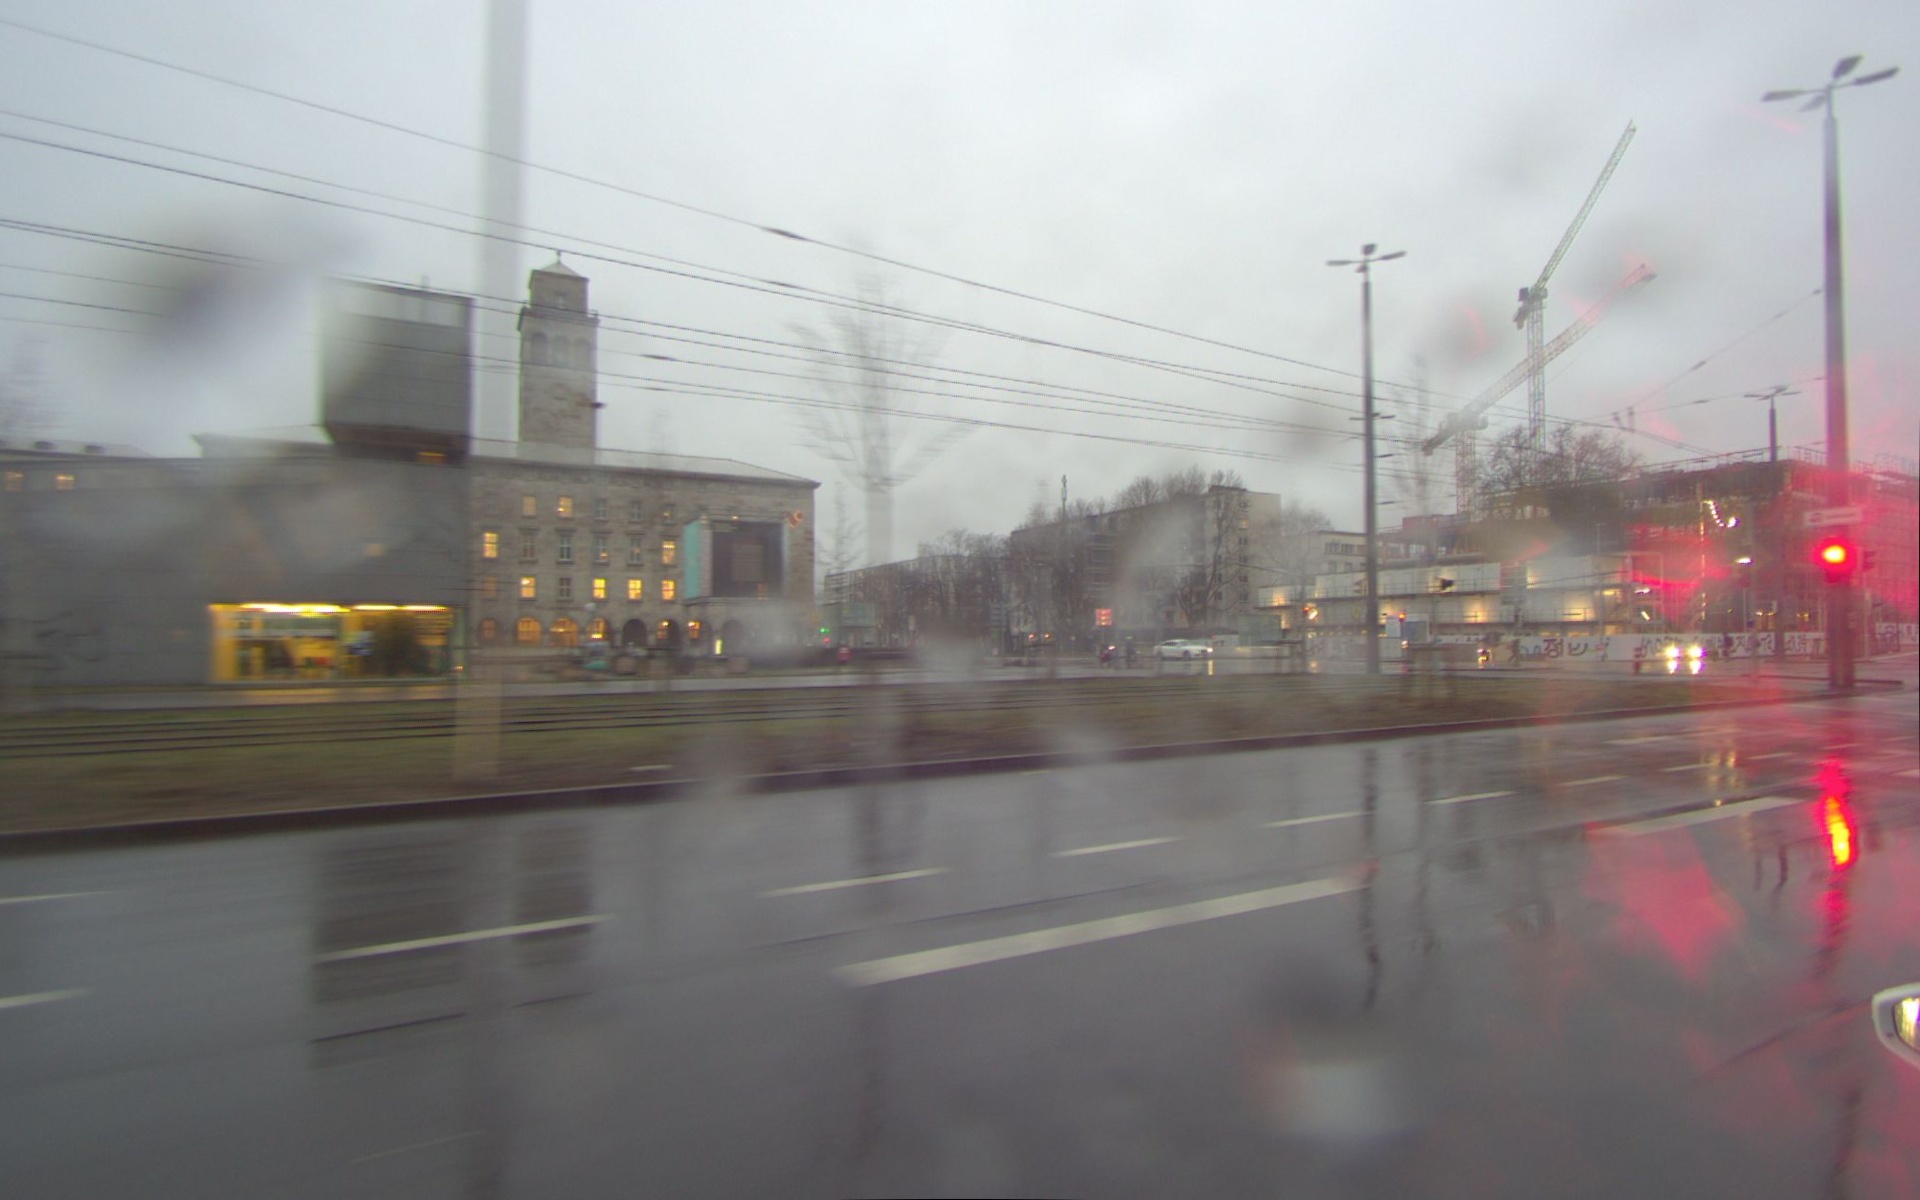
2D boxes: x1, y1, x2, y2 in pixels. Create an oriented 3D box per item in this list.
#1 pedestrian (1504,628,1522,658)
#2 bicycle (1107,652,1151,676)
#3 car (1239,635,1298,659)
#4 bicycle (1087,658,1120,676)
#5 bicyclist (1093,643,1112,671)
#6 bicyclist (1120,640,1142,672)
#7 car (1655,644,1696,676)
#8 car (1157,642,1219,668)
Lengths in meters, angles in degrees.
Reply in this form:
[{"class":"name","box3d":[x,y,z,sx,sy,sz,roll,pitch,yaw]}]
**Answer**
[{"class":"pedestrian","box3d":[37.491,2.926,68.134,0.741,2.040,0.786,0,-2,-37]},{"class":"bicycle","box3d":[9.868,3.735,58.796,0.714,1.380,2.811,2,-4,-37]},{"class":"car","box3d":[23.373,3.597,76.279,1.979,1.773,3.963,1,-3,-34]},{"class":"bicycle","box3d":[8.863,4.146,62.275,0.611,1.046,2.358,1,-3,-34]},{"class":"bicyclist","box3d":[8.831,3.517,62.367,0.611,1.719,1.027,1,-3,-35]},{"class":"bicyclist","box3d":[9.984,3.254,58.610,0.714,1.863,0.987,2,-3,-37]},{"class":"car","box3d":[48.351,4.021,67.843,1.737,2.040,3.978,-2,-3,43]},{"class":"car","box3d":[15.561,3.729,68.666,1.977,1.706,3.968,1,-3,-31]}]
